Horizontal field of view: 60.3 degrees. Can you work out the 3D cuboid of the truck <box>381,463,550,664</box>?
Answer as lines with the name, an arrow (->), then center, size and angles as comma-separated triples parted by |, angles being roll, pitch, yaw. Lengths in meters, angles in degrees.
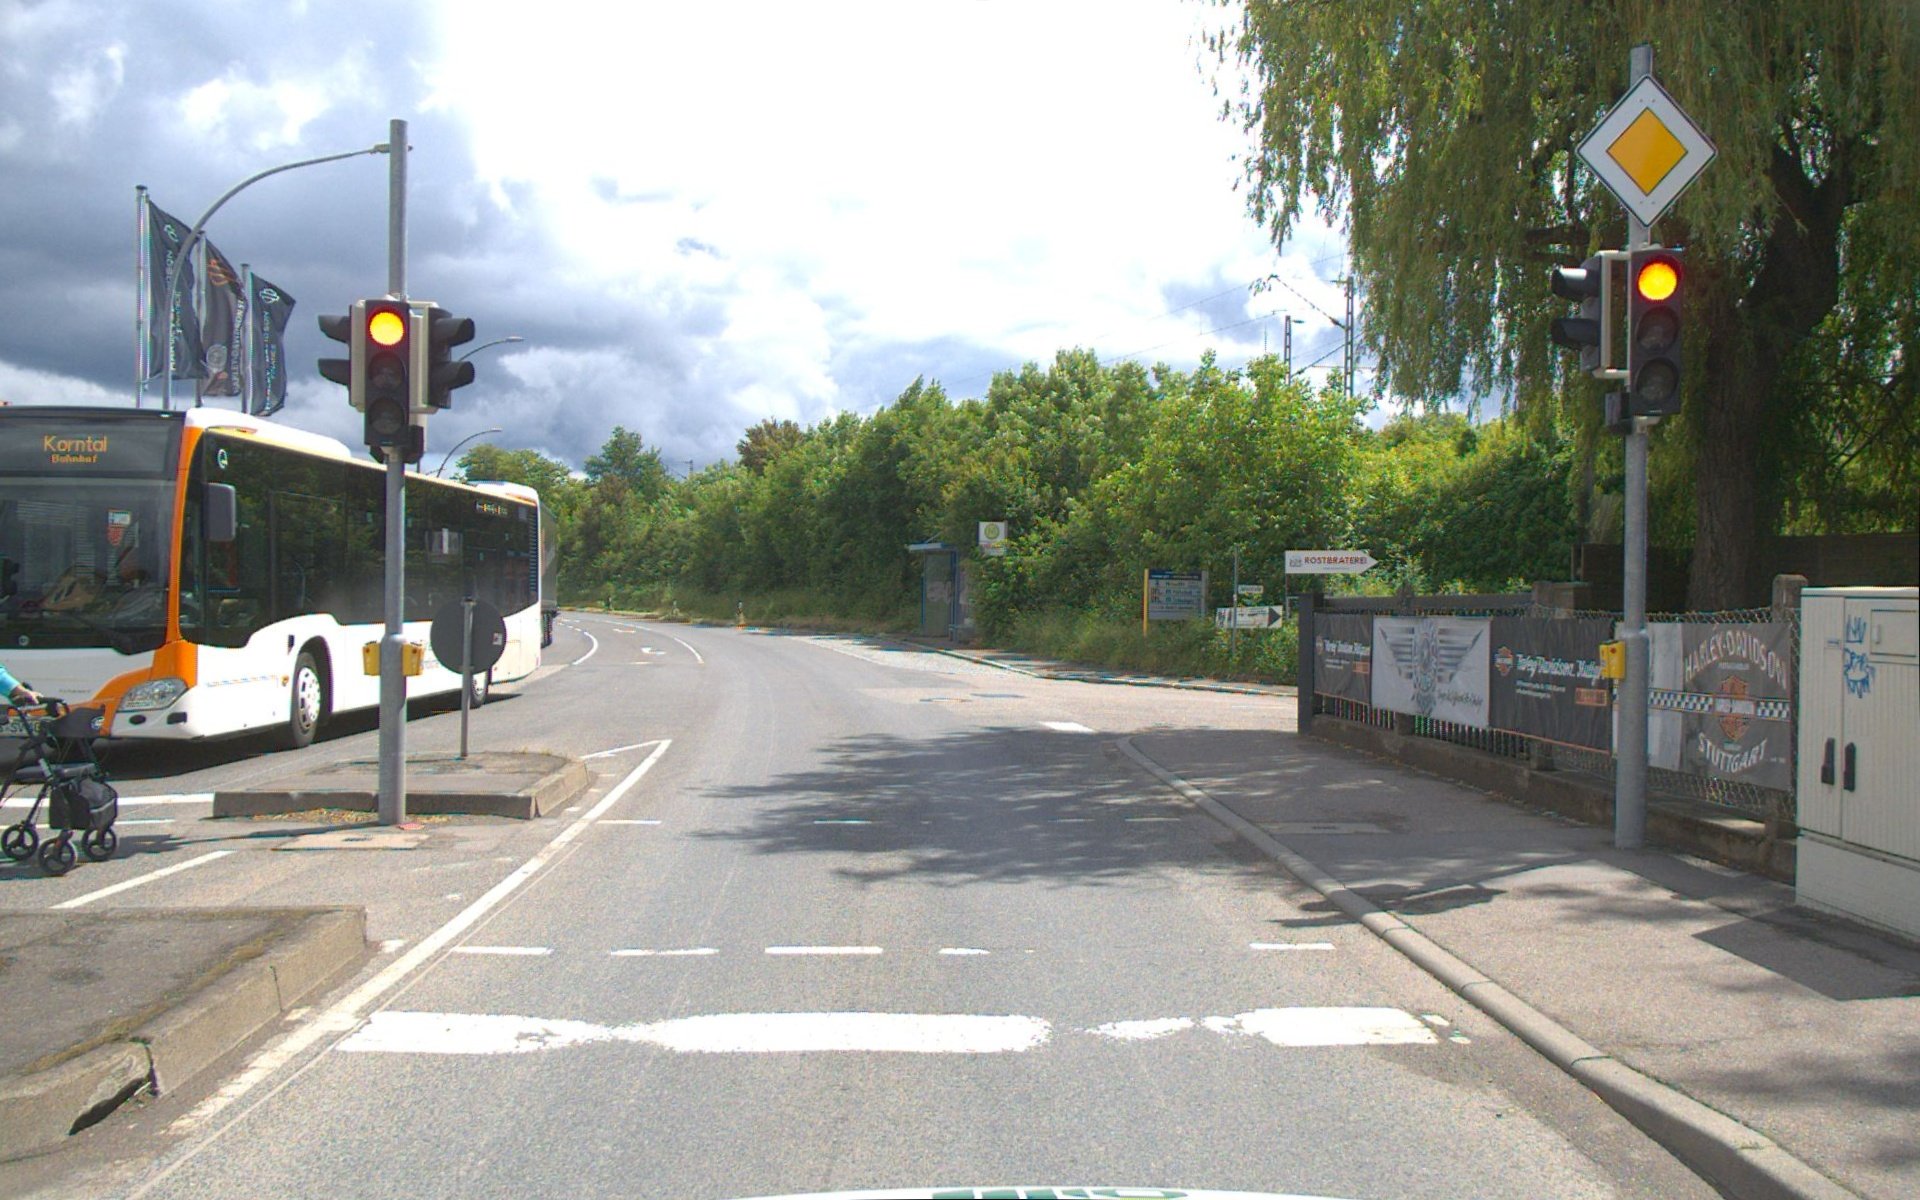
truck -> -11.721, -0.774, 40.004 | 2.383, 4.203, 9.133 | 3, 0, -8

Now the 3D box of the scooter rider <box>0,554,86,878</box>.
scooter rider -> -5.209, 0.573, 8.639 | 0.860, 1.617, 0.796 | 1, 0, -2

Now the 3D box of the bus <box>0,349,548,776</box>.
bus -> -7.507, -0.284, 18.952 | 2.721, 3.323, 12.120 | 0, 0, -1

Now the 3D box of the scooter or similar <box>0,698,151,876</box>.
scooter or similar -> -4.694, 0.959, 8.647 | 0.599, 0.846, 0.659 | 1, 0, -2
